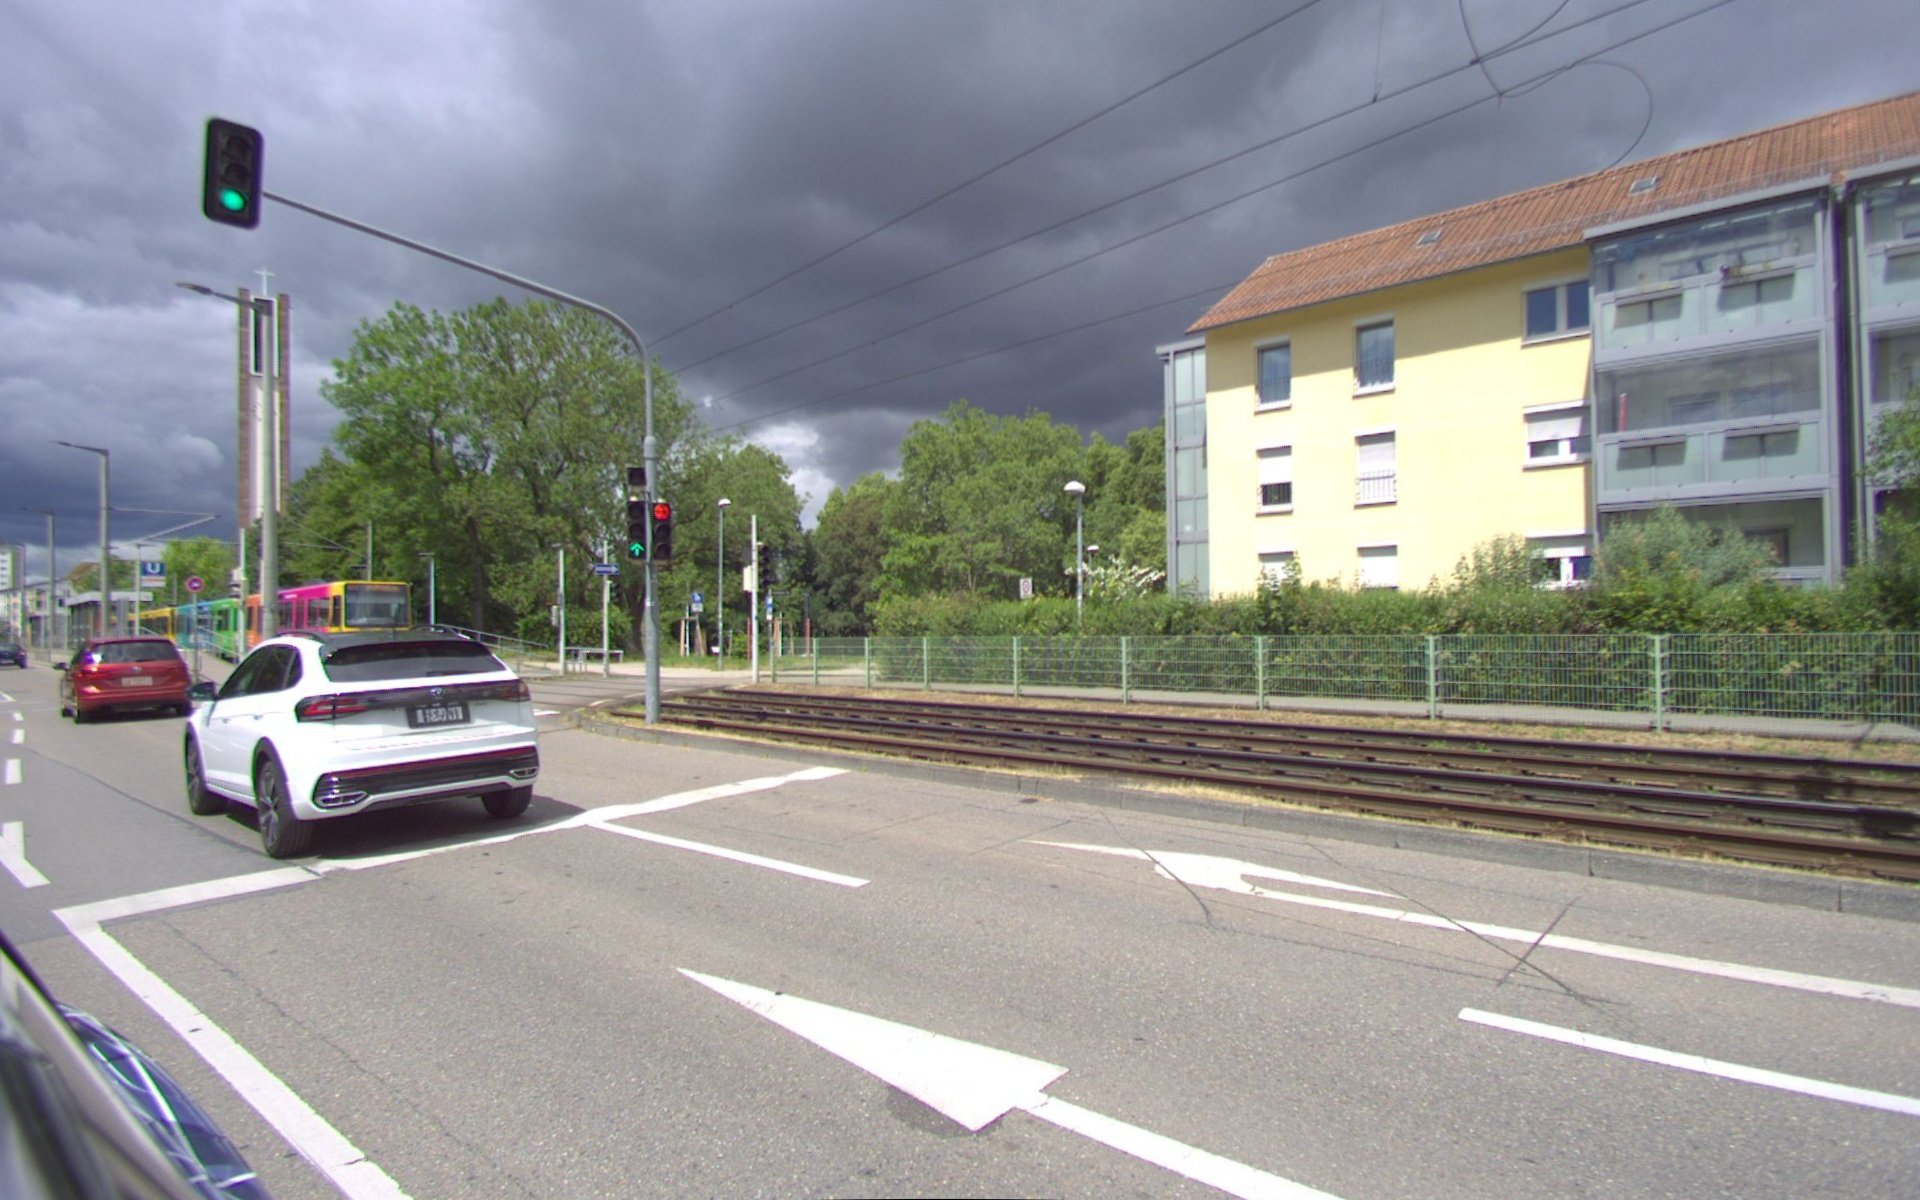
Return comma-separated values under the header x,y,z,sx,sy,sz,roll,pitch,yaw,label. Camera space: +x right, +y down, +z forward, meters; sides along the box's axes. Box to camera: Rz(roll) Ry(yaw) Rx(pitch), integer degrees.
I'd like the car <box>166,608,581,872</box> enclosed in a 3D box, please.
x,y,z,sx,sy,sz,roll,pitch,yaw,label
-4.851,0.911,8.117,3.999,1.564,1.741,-2,-1,42,car

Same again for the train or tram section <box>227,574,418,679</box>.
x,y,z,sx,sy,sz,roll,pitch,yaw,label
-28.878,1.226,45.042,18.544,3.892,2.947,-2,-1,45,train or tram section

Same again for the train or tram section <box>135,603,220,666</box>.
x,y,z,sx,sy,sz,roll,pitch,yaw,label
-54.218,2.385,69.944,12.205,3.892,2.947,-2,-1,44,train or tram section

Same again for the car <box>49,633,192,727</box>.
x,y,z,sx,sy,sz,roll,pitch,yaw,label
-16.323,1.476,19.607,4.000,1.563,1.645,-2,0,43,car

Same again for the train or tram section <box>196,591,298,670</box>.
x,y,z,sx,sy,sz,roll,pitch,yaw,label
-38.497,1.630,54.492,8.381,3.892,2.947,-2,-1,44,train or tram section

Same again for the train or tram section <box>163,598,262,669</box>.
x,y,z,sx,sy,sz,roll,pitch,yaw,label
-45.658,2.025,61.577,11.790,3.892,2.947,-2,-1,44,train or tram section

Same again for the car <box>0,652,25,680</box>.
x,y,z,sx,sy,sz,roll,pitch,yaw,label
-53.619,3.678,56.639,4.010,1.452,1.698,-2,-1,44,car
